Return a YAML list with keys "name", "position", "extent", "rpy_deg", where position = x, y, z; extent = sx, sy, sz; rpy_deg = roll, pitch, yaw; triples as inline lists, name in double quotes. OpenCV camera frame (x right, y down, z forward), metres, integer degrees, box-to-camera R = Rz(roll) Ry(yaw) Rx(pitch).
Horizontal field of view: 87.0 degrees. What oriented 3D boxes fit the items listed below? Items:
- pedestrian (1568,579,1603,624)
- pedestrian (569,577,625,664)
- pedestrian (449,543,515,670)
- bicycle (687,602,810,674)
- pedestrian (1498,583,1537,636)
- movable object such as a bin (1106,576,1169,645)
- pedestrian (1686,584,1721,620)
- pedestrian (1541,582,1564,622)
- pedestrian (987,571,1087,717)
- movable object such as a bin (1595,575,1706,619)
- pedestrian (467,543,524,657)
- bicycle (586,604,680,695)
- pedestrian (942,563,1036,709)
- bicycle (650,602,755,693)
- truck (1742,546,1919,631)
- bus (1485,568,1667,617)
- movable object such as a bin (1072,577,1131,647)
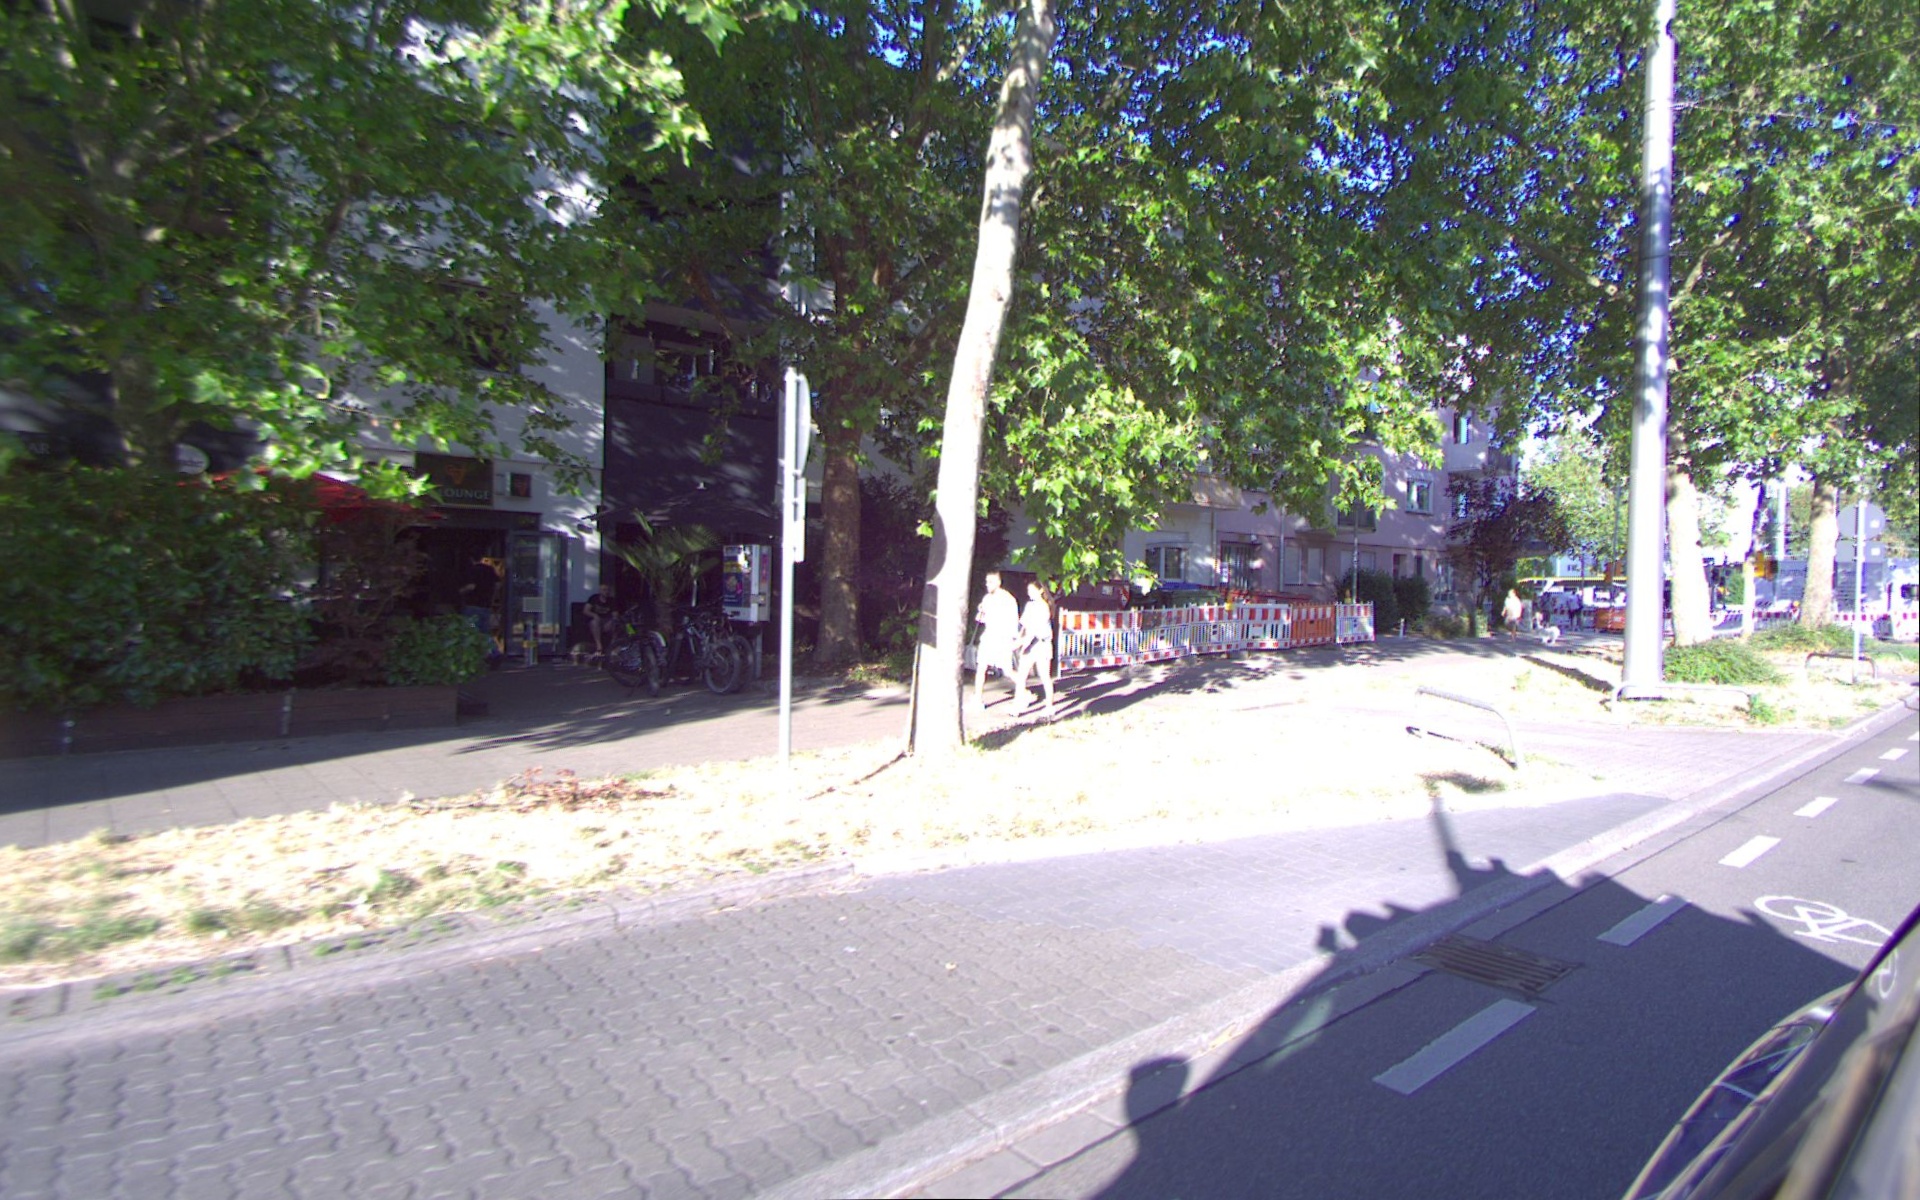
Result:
- name: "pedestrian"
  position: [27.303, 0.069, 44.197]
  extent: [0.824, 1.894, 1.099]
  rpy_deg: [3, -3, 0]
- name: "pedestrian"
  position: [-6.058, 0.327, 16.862]
  extent: [0.687, 1.398, 0.741]
  rpy_deg: [0, 0, -36]
- name: "pedestrian"
  position: [-7.375, 0.093, 15.602]
  extent: [0.739, 1.896, 0.690]
  rpy_deg: [1, 0, 44]
- name: "bicycle"
  position: [-3.244, 0.557, 15.687]
  extent: [0.647, 0.982, 1.937]
  rpy_deg: [2, 2, 37]
- name: "pedestrian"
  position: [16.205, 0.258, 29.413]
  extent: [0.802, 1.493, 0.791]
  rpy_deg: [0, 1, -43]
- name: "movable object such as a bin"
  position: [3.882, 0.212, 22.179]
  extent: [0.822, 1.452, 1.301]
  rpy_deg: [1, 1, -19]
- name: "pedestrian"
  position: [38.002, 0.082, 51.750]
  extent: [0.955, 1.821, 1.072]
  rpy_deg: [0, 0, -18]
- name: "pedestrian"
  position: [26.108, 0.101, 44.591]
  extent: [0.573, 1.730, 0.680]
  rpy_deg: [3, -2, -6]
- name: "pedestrian"
  position: [0.882, 0.476, 11.607]
  extent: [0.802, 1.592, 0.791]
  rpy_deg: [1, 0, -43]
- name: "movable object such as a bin"
  position: [37.368, -0.197, 54.945]
  extent: [1.959, 2.285, 5.216]
  rpy_deg: [-1, 1, -8]
- name: "pedestrian"
  position: [-7.901, -0.009, 17.209]
  extent: [0.688, 1.896, 0.740]
  rpy_deg: [0, 0, -40]
- name: "bicycle"
  position: [-4.375, 0.603, 13.423]
  extent: [0.651, 1.037, 2.384]
  rpy_deg: [-1, 1, -31]
- name: "pedestrian"
  position: [0.347, 0.401, 12.238]
  extent: [0.802, 1.688, 0.791]
  rpy_deg: [0, 1, -43]
- name: "bicycle"
  position: [-3.541, 0.590, 13.744]
  extent: [0.651, 1.036, 2.384]
  rpy_deg: [0, 2, -33]
- name: "truck"
  position: [41.145, -0.519, 46.310]
  extent: [2.763, 3.586, 8.998]
  rpy_deg: [0, 1, -9]
- name: "bus"
  position: [49.755, -0.706, 82.261]
  extent: [3.035, 3.769, 12.281]
  rpy_deg: [0, 1, -41]
- name: "movable object such as a bin"
  position: [3.009, 0.233, 21.672]
  extent: [0.822, 1.452, 1.301]
  rpy_deg: [1, 1, -13]
